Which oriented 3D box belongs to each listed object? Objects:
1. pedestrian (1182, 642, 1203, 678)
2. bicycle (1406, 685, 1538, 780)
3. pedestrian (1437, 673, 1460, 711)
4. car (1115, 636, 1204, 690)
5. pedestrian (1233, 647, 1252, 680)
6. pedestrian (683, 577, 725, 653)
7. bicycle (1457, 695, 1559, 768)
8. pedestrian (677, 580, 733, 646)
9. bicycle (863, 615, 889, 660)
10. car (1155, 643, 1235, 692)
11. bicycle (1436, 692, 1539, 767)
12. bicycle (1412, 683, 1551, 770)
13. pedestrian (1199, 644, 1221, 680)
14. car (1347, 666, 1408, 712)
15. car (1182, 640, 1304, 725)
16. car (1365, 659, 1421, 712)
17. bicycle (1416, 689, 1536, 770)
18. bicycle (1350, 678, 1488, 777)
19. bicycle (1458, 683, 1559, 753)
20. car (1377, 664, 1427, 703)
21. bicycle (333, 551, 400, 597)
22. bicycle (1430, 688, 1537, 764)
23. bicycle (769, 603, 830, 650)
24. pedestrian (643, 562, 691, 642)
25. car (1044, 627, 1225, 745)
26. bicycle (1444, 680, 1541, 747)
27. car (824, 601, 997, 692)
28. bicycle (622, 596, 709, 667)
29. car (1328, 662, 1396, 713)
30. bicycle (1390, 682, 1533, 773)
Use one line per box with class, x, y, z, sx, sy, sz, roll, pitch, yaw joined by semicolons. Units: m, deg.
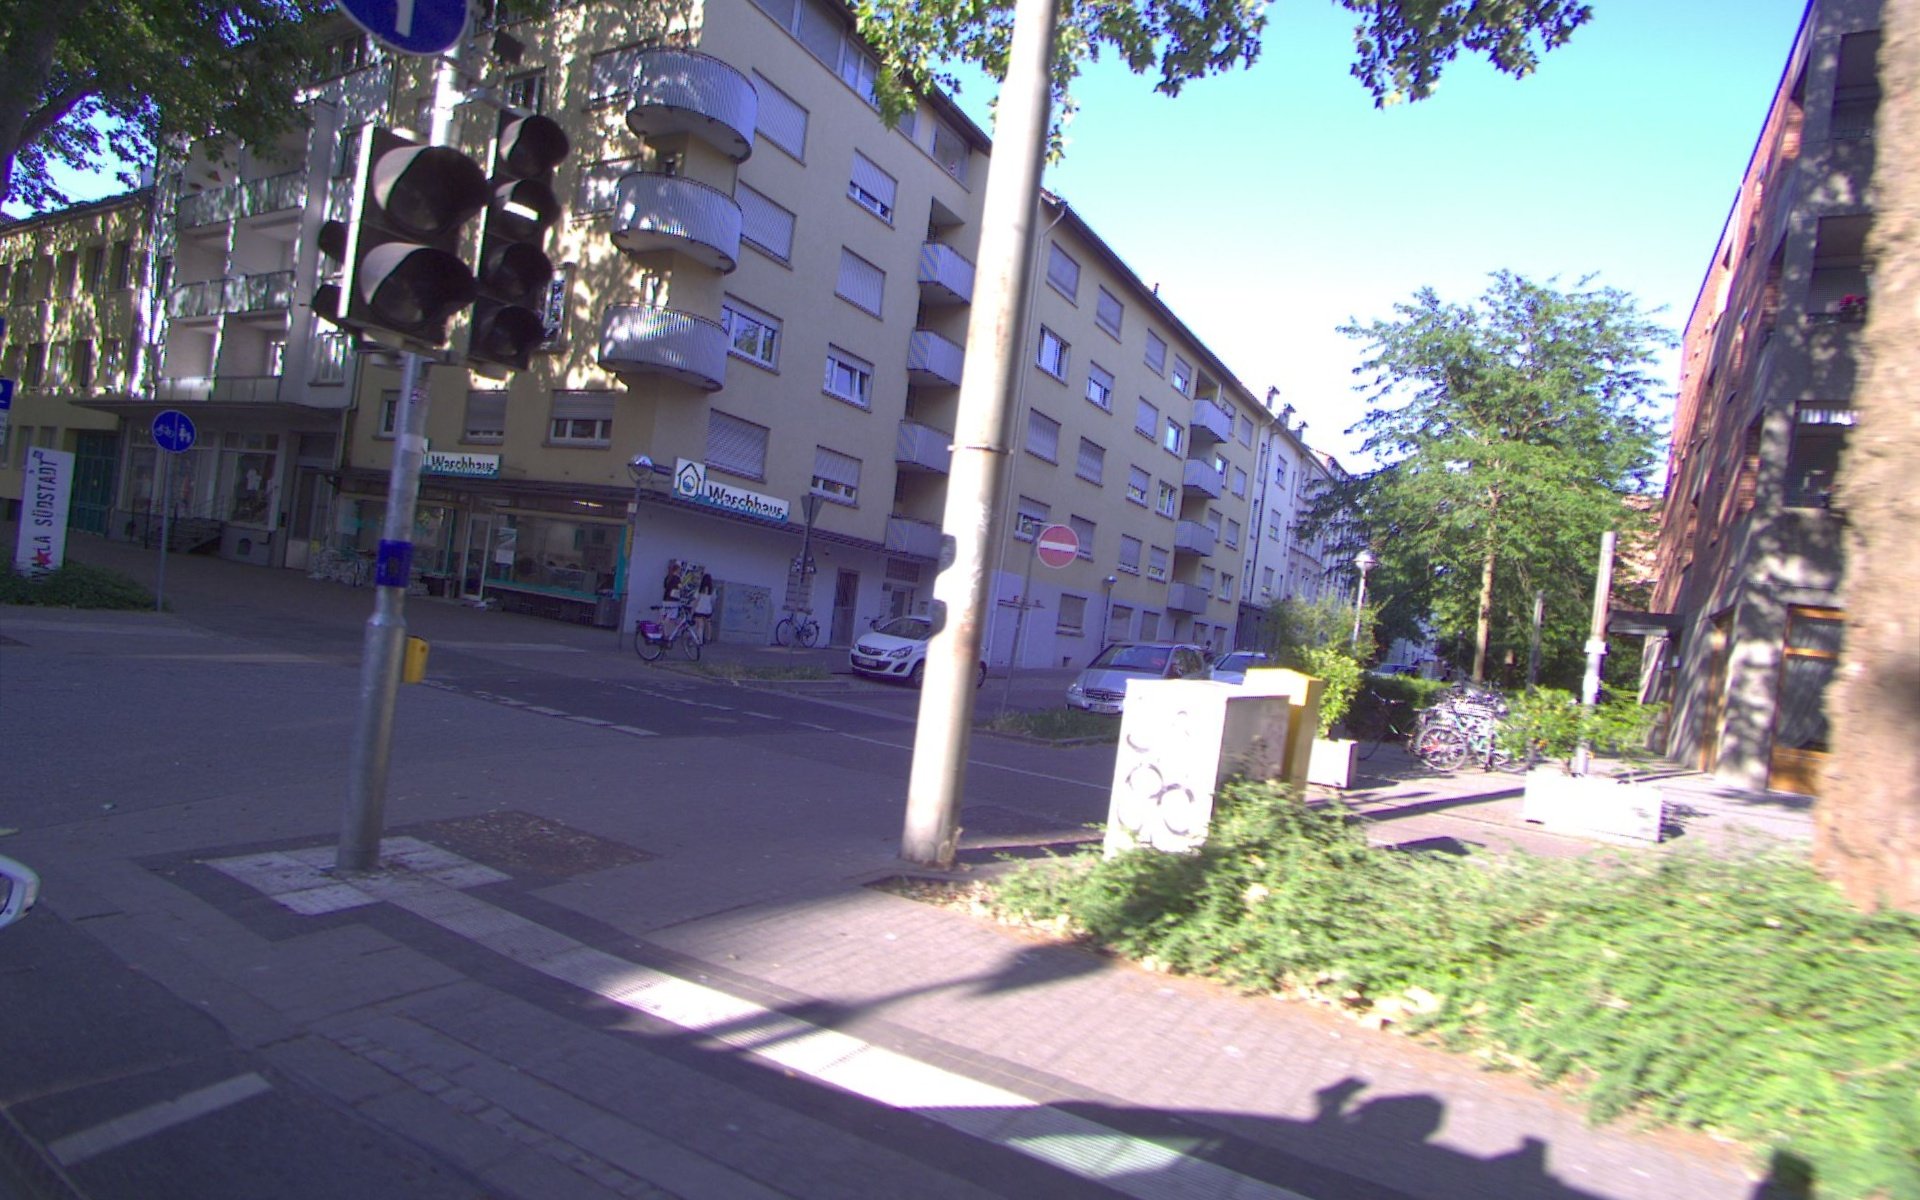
pedestrian;10.858;2.796;46.942;0.644;1.604;0.772;7;0;25
bicycle;7.863;2.014;15.510;1.668;1.171;0.601;7;2;27
pedestrian;22.098;4.165;45.521;0.646;1.604;0.770;7;0;36
car;7.377;2.335;36.889;1.834;1.571;3.868;10;1;31
pedestrian;14.496;3.250;51.636;0.678;1.604;0.772;7;0;25
pedestrian;-5.644;0.322;22.177;0.692;1.558;0.688;7;0;-18
bicycle;11.027;2.623;20.286;1.668;1.171;0.563;7;2;27
pedestrian;-5.920;0.312;23.372;0.755;1.432;0.842;7;0;23
bicycle;-2.445;1.072;29.343;0.591;1.171;1.696;6;1;-3
car;9.479;2.738;40.391;1.834;1.571;3.868;10;1;31
bicycle;10.413;2.527;19.869;1.669;1.171;0.661;7;1;31
bicycle;9.152;2.188;17.689;2.017;1.171;0.731;7;1;31
pedestrian;11.635;2.890;46.777;0.678;1.604;0.772;7;0;25
car;18.722;3.973;45.037;1.835;1.713;3.868;7;-1;31
car;7.114;2.044;25.022;1.835;1.713;3.868;7;-1;31
car;21.176;4.150;49.090;1.835;2.259;3.867;7;0;31
bicycle;9.514;2.357;18.574;1.820;1.171;0.661;7;1;31
bicycle;6.752;1.846;14.839;1.671;1.171;0.600;7;2;34
bicycle;11.350;2.429;20.856;1.666;1.171;0.521;6;2;21
car;23.453;4.425;53.326;1.835;1.713;3.868;7;-1;31
bicycle;-15.327;-0.674;25.953;1.749;1.010;0.571;7;1;27
bicycle;10.020;2.383;19.264;1.669;1.171;0.661;7;1;31
bicycle;-4.309;0.737;27.136;0.592;1.171;1.694;7;1;31
pedestrian;-6.593;0.062;22.664;0.649;1.703;0.703;7;0;4
car;3.289;1.542;18.326;1.835;1.713;3.868;7;-1;31
bicycle;11.377;2.414;21.559;1.666;1.171;0.564;6;2;20
car;-1.006;1.084;22.383;1.834;1.571;3.868;10;1;31
bicycle;-5.406;0.565;18.563;0.731;1.171;1.797;6;1;9
car;16.305;3.530;40.681;1.835;1.713;3.868;7;-1;31
bicycle;8.300;2.081;16.700;1.950;1.171;0.636;7;2;34
